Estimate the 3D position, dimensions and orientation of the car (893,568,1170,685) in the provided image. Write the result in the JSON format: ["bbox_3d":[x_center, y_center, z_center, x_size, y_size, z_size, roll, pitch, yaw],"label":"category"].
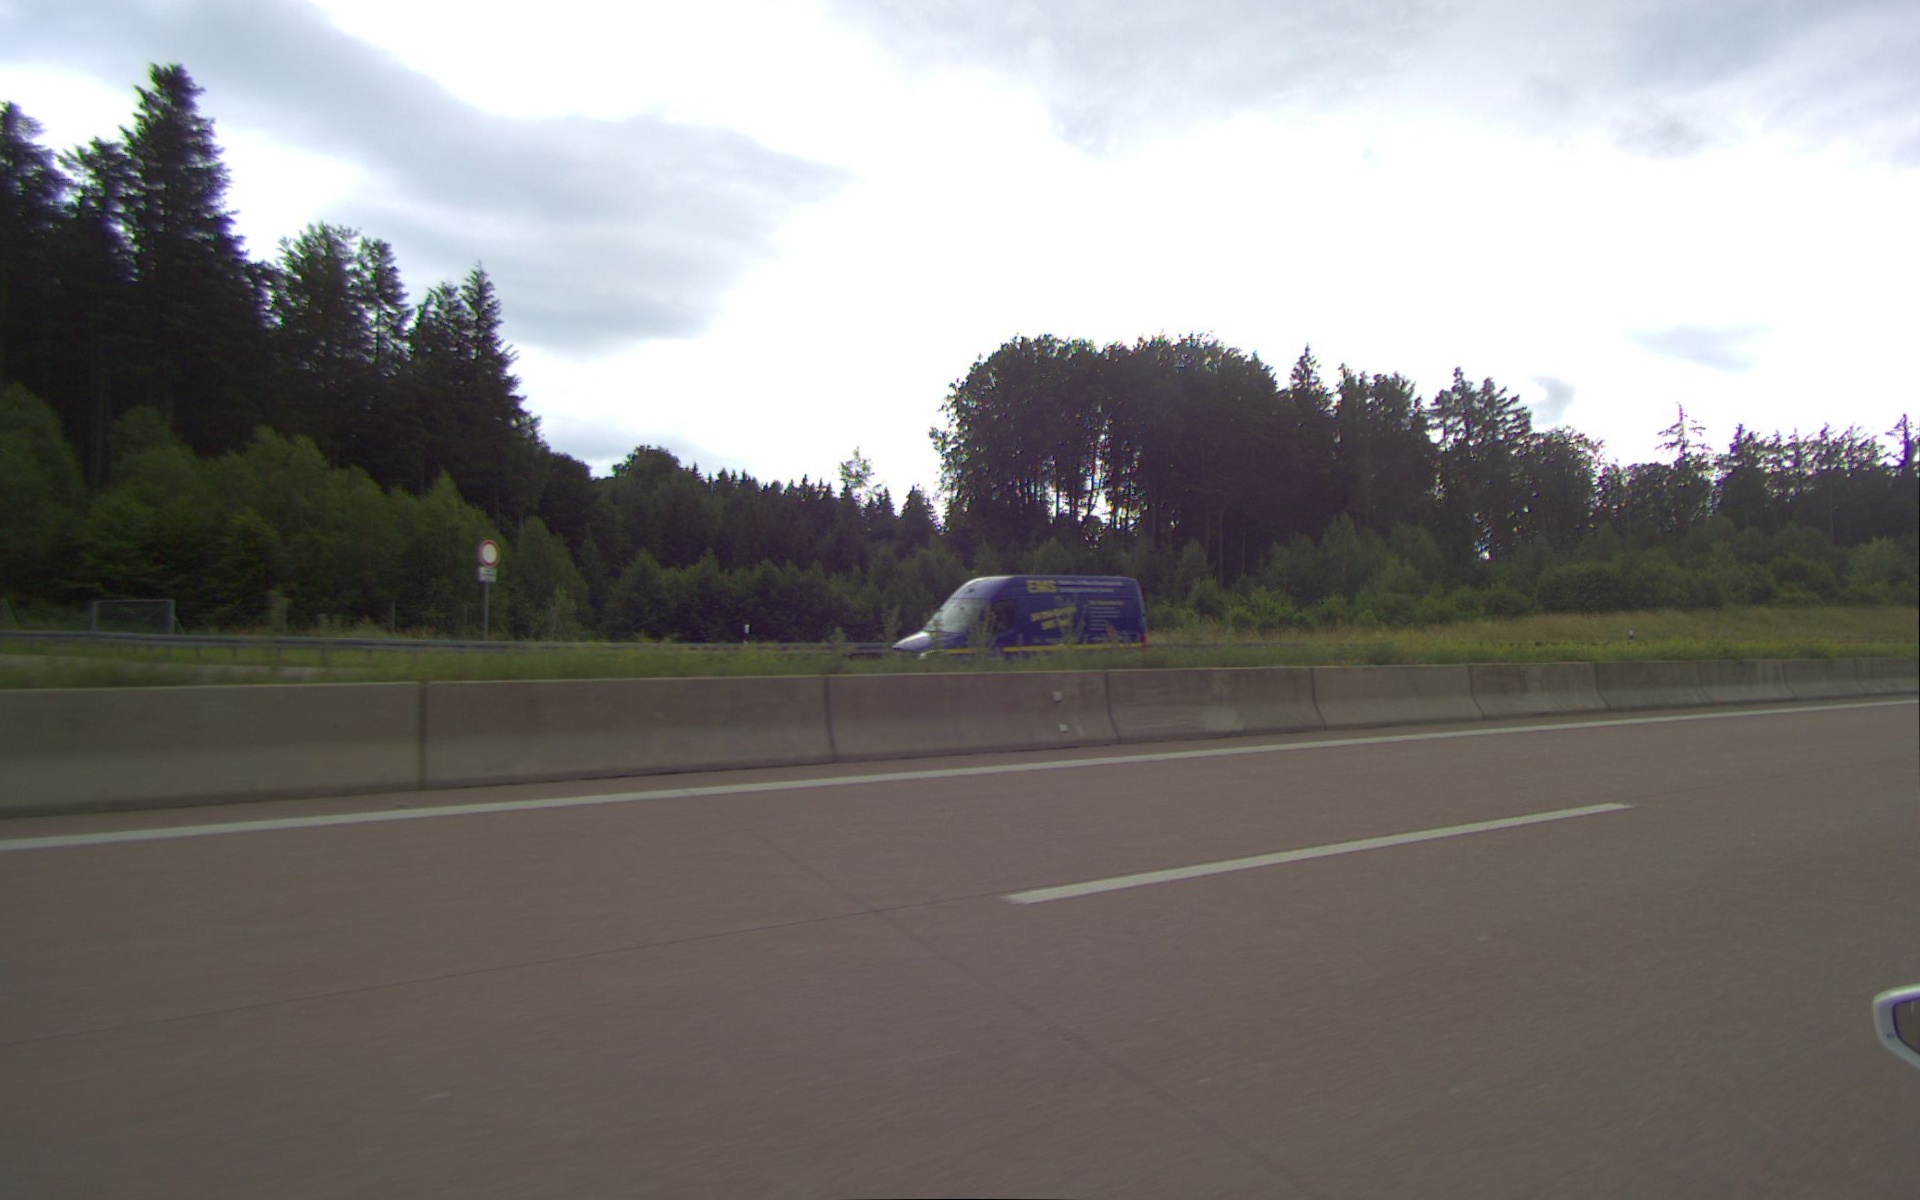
[{"bbox_3d":[1.662,0.556,21.879,5.972,2.272,1.983,1,0,-31],"label":"car"}]
